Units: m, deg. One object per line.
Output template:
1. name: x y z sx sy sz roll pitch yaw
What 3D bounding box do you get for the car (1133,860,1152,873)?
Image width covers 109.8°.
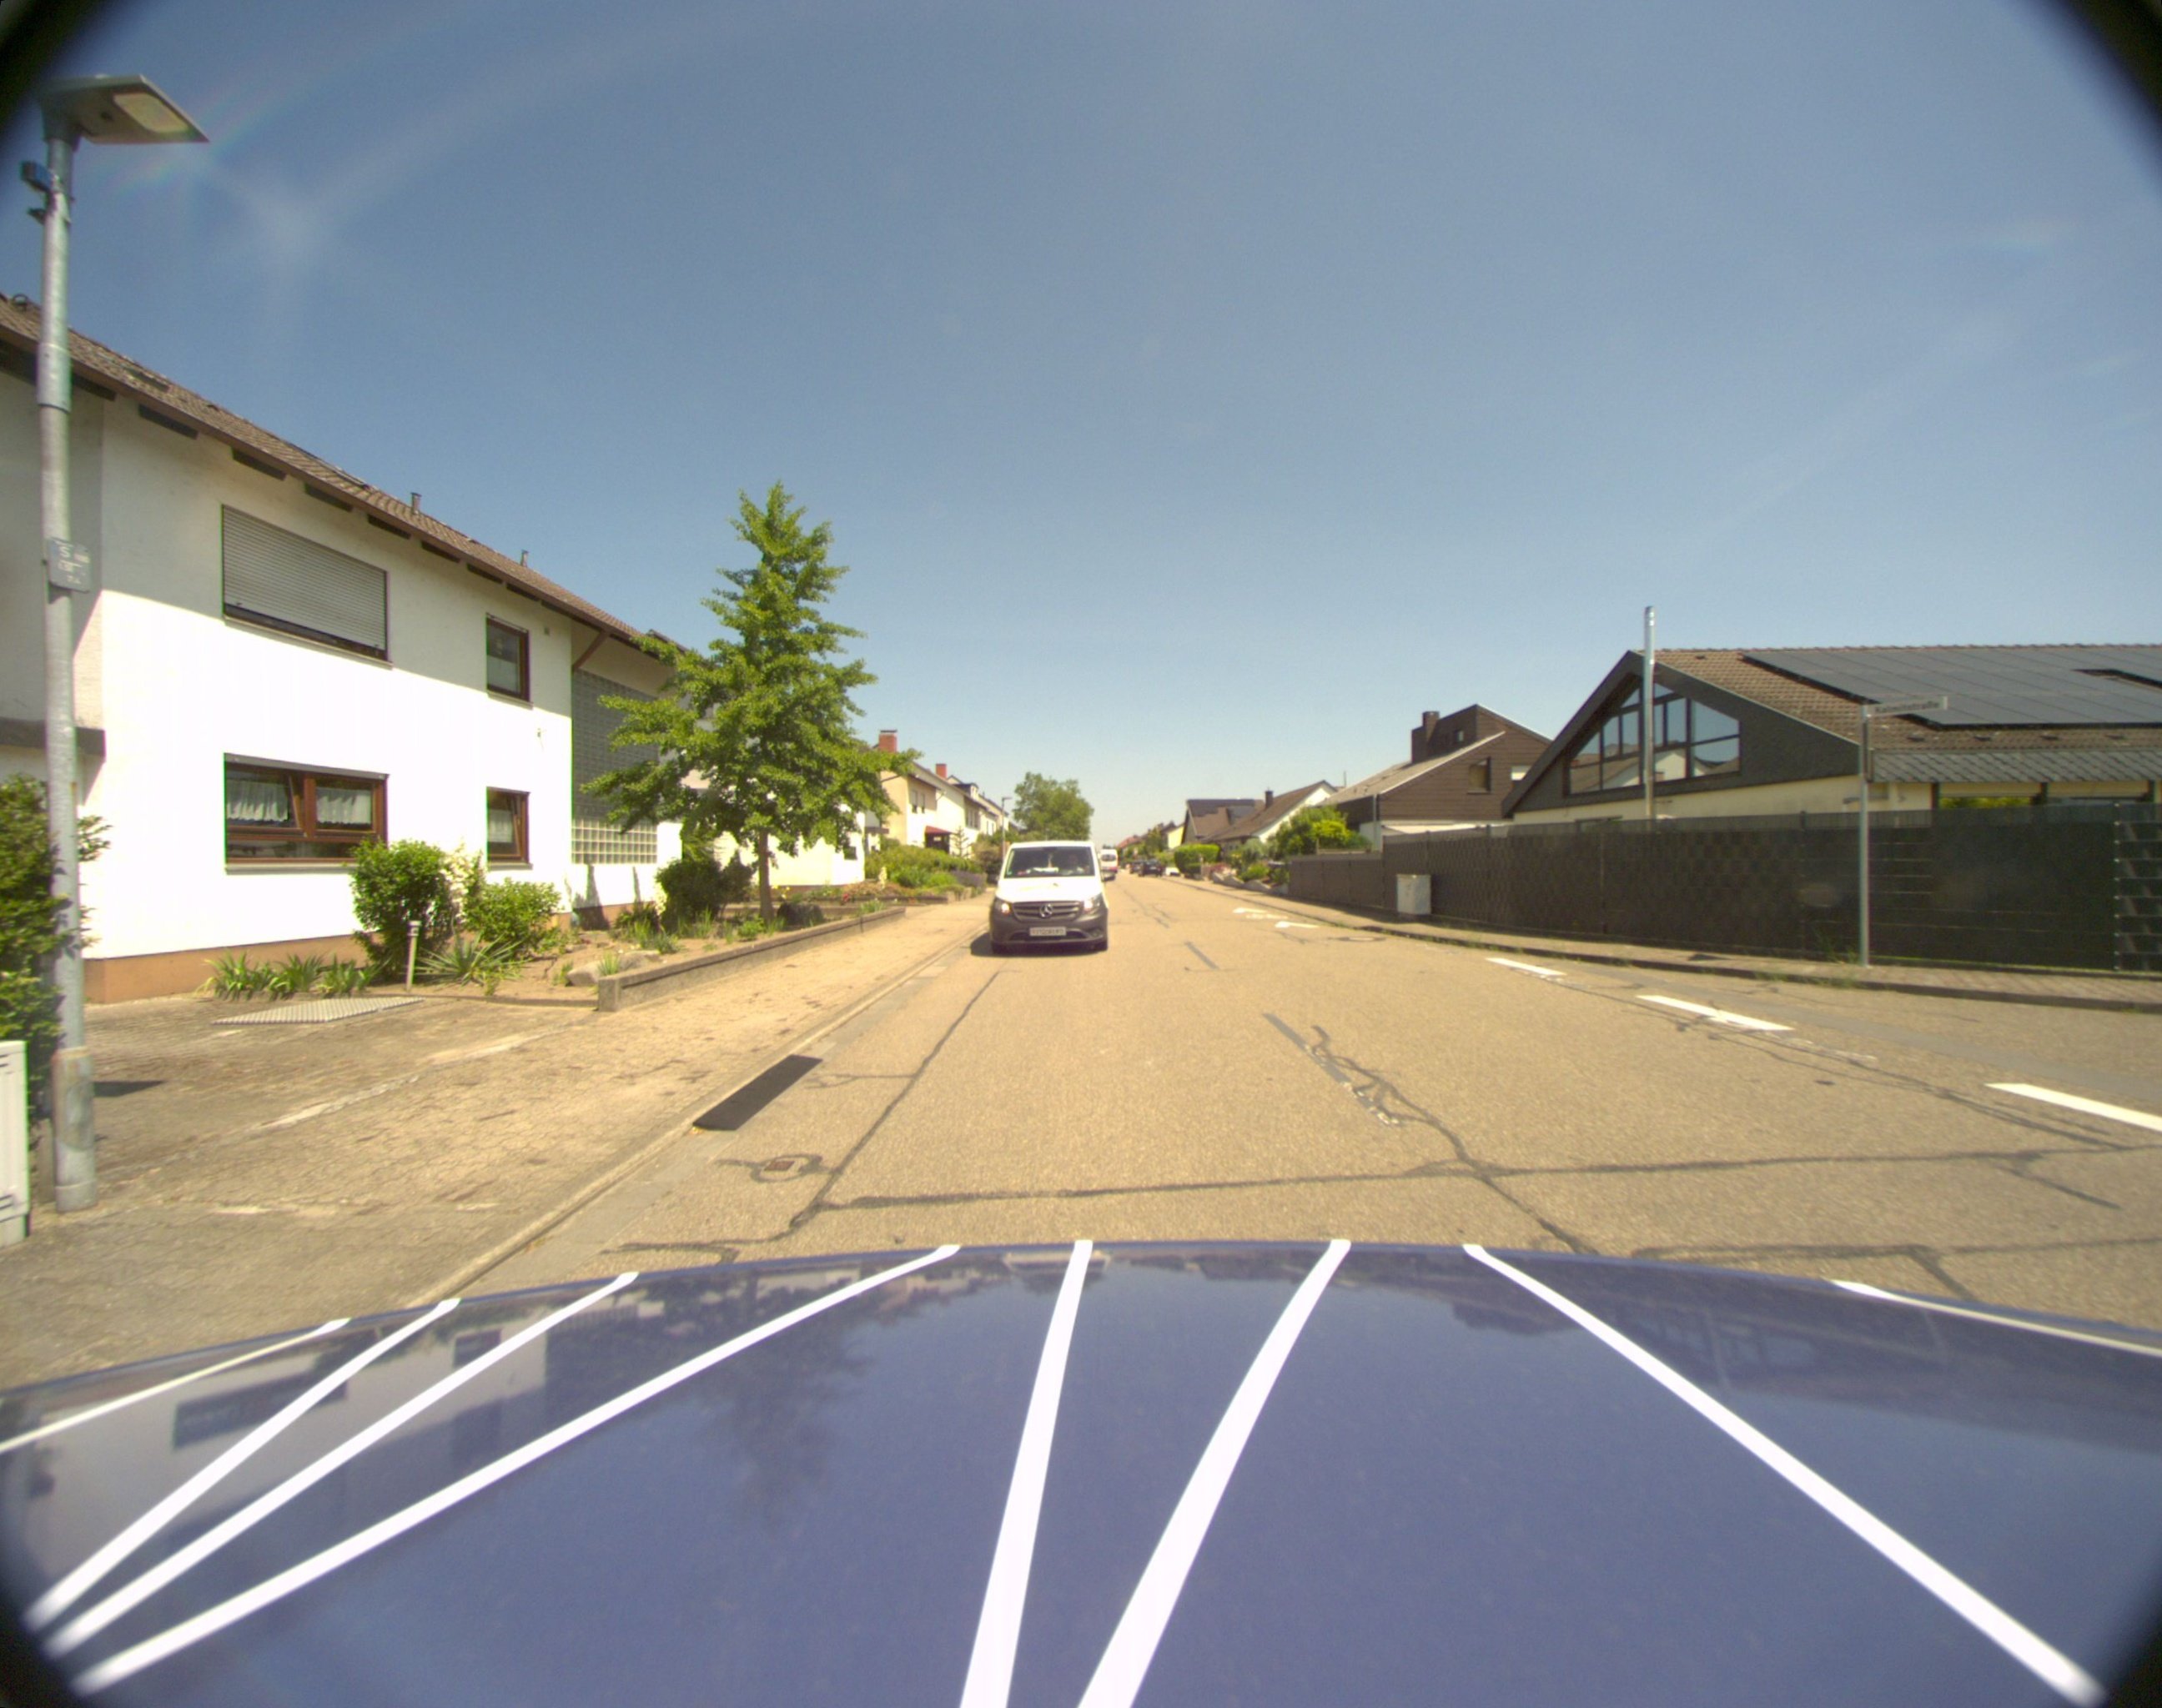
1. car: 6.582 1.331 81.527 1.998 1.390 4.001 0 0 3

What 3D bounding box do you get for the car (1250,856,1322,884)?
1. car: 12.771 0.981 47.517 3.997 1.674 1.902 0 0 -1

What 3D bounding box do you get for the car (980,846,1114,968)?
1. car: -0.504 0.787 14.011 2.018 1.846 5.067 0 0 0

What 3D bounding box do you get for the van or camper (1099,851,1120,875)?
1. van or camper: 3.123 0.933 83.550 2.069 2.576 4.603 0 0 0

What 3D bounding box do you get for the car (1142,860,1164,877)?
1. car: 6.154 1.211 65.296 1.807 1.390 4.001 0 0 3
